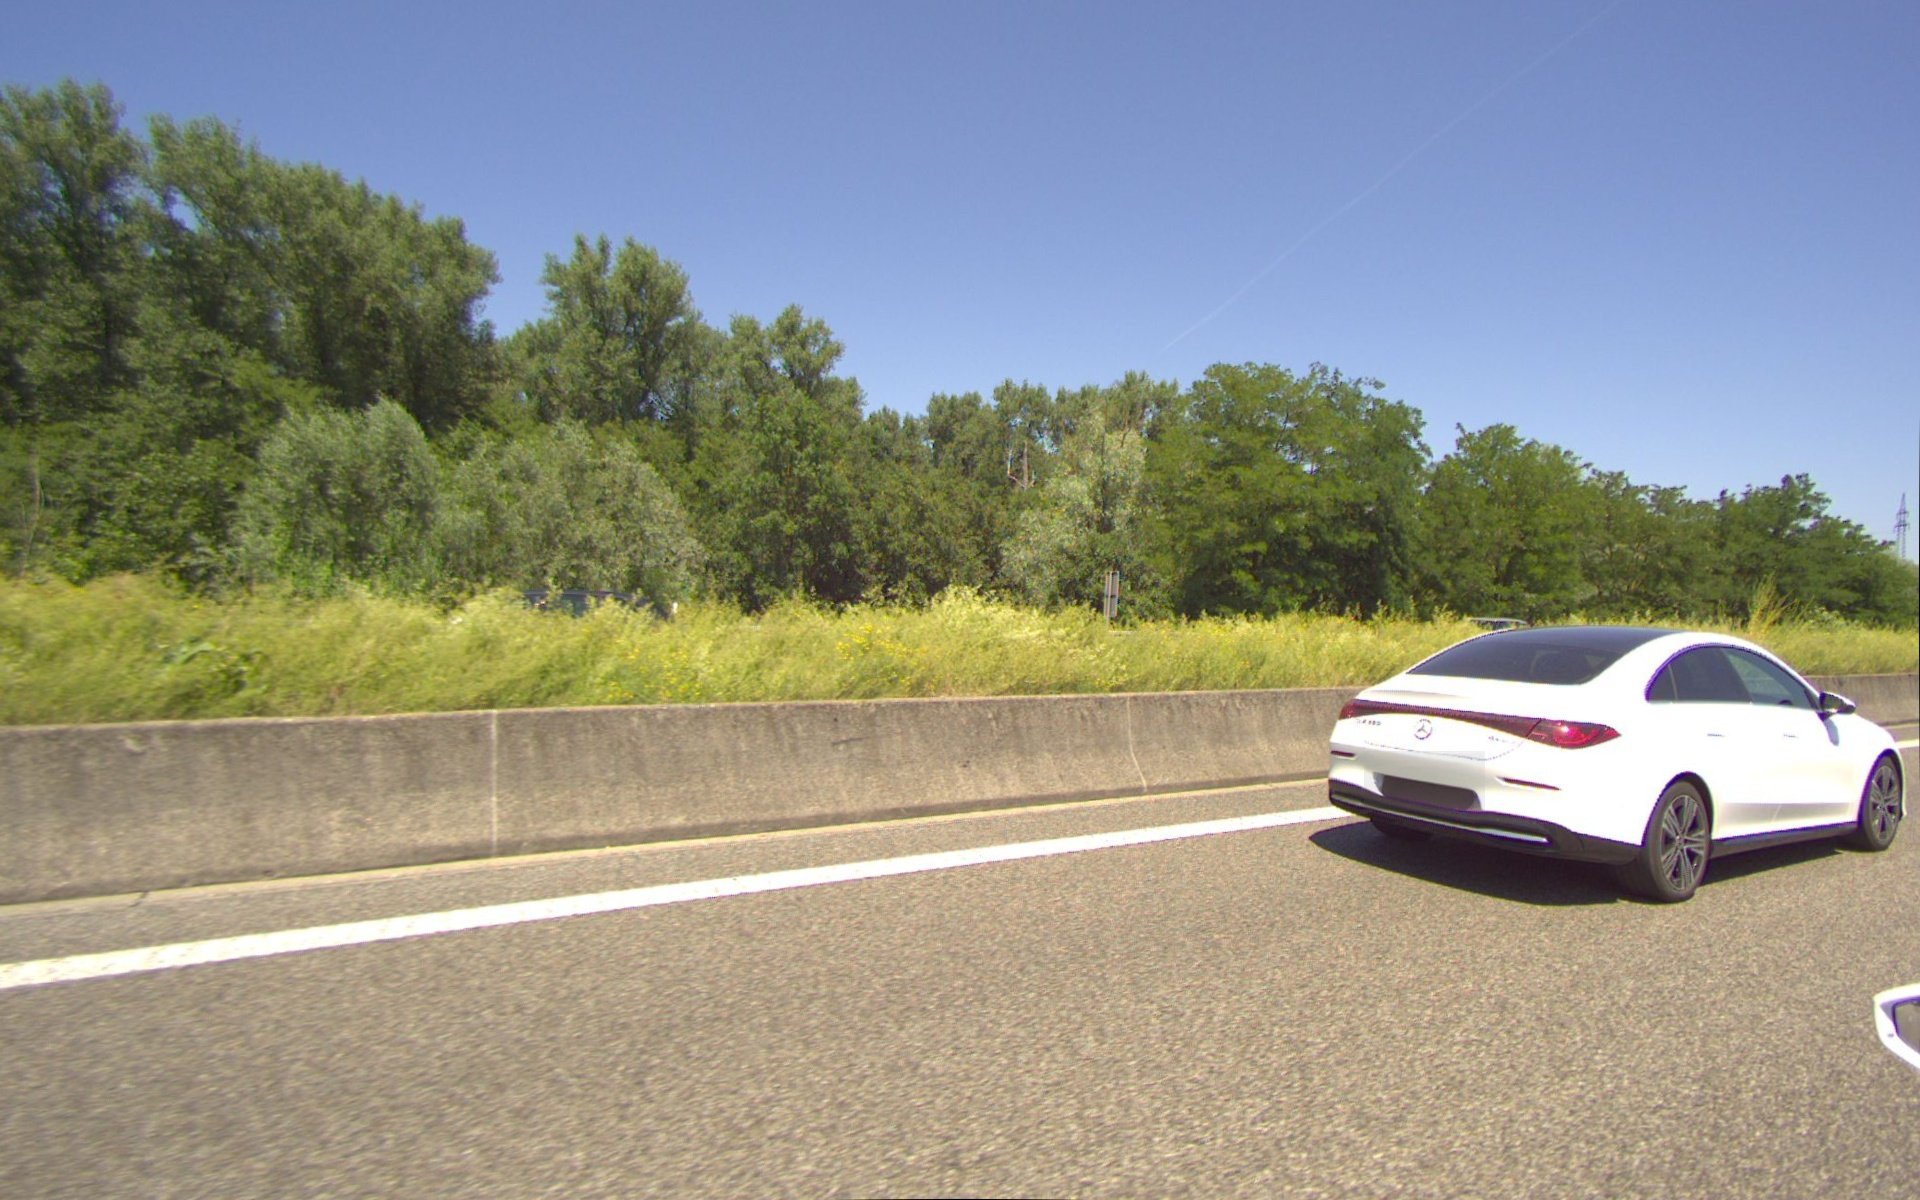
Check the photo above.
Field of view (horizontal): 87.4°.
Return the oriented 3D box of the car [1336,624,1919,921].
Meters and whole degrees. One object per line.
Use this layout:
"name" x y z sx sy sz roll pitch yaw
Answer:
"car" 5.048 0.938 7.034 5.048 1.467 1.758 2 -2 -30
